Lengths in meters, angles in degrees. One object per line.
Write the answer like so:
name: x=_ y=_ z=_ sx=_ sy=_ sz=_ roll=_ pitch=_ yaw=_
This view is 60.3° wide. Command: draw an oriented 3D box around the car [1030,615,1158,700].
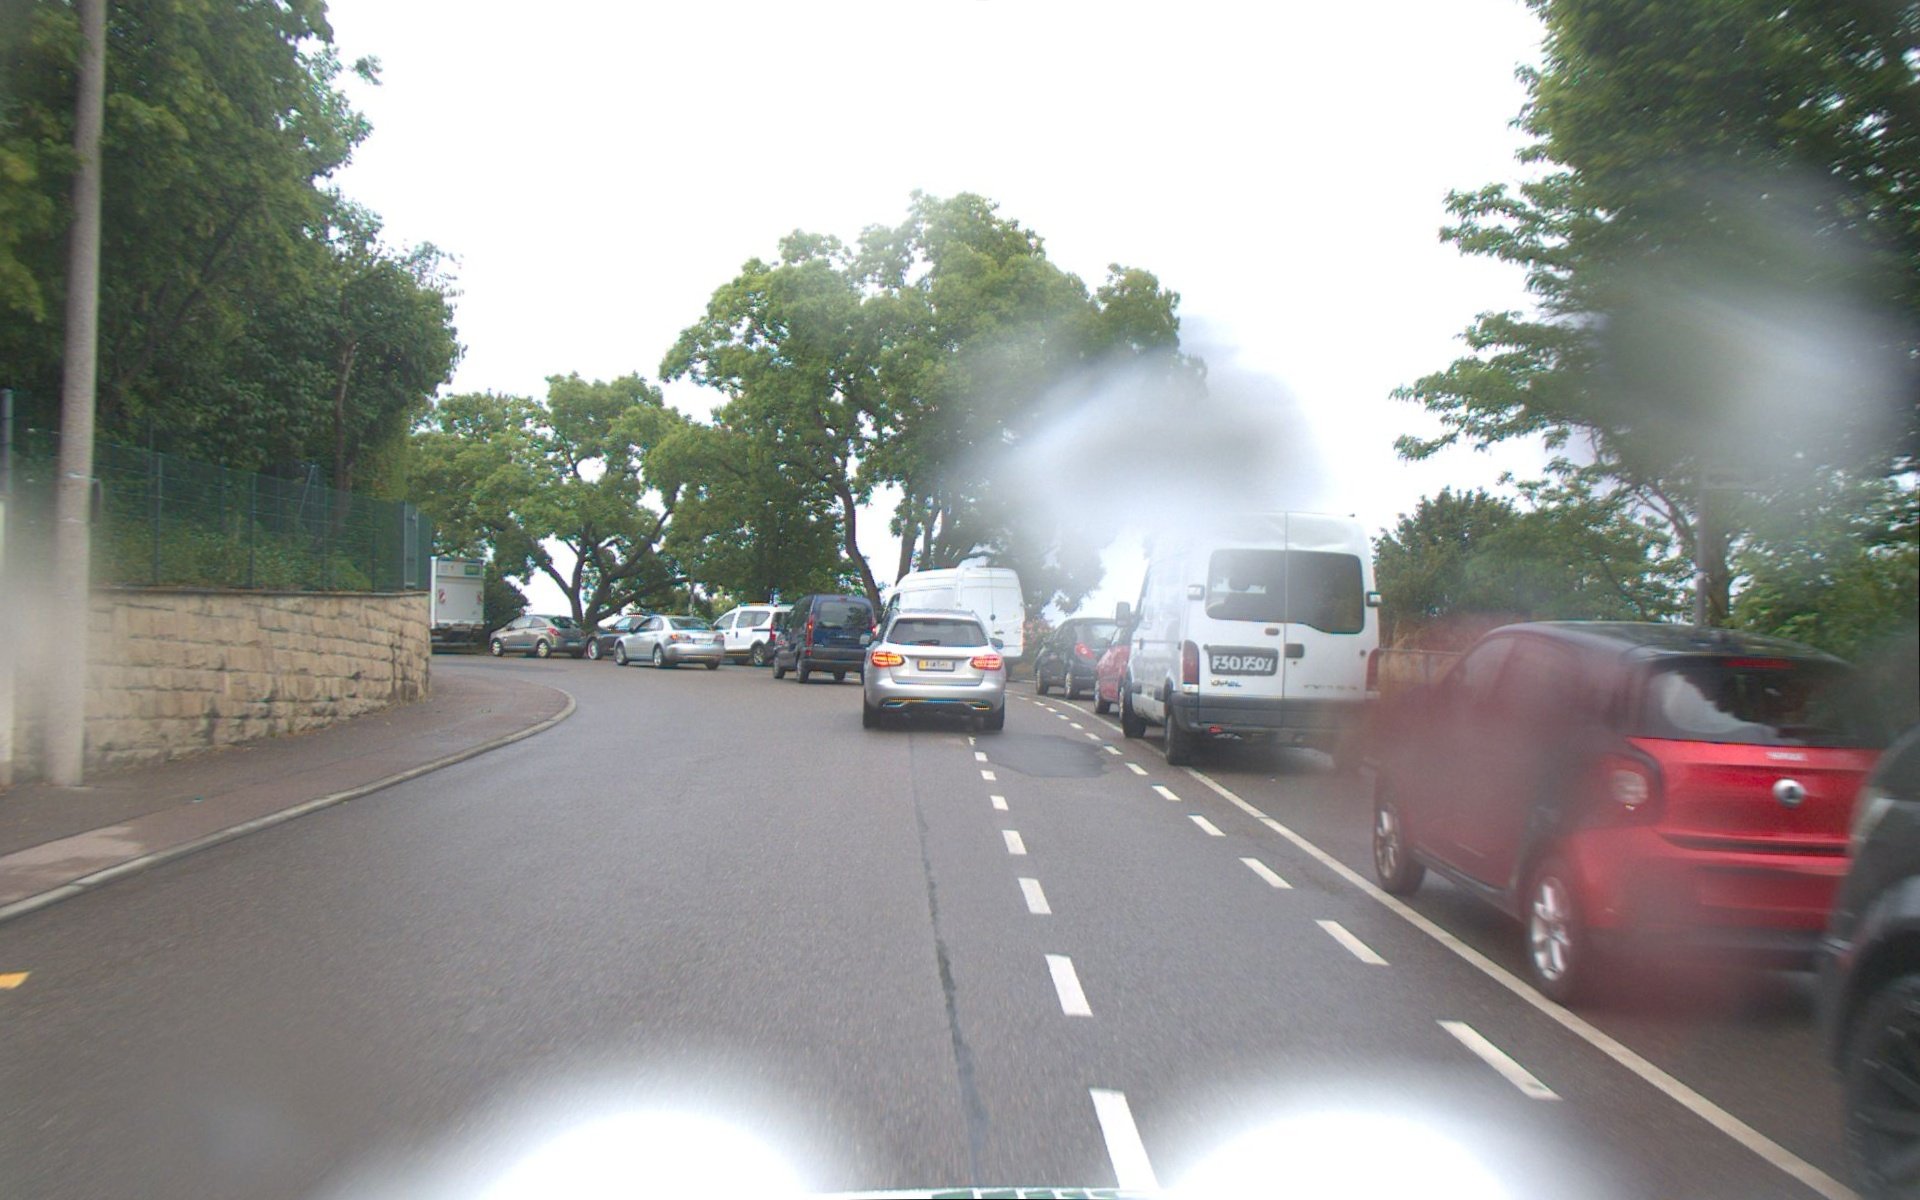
car: x=2.460 y=1.038 z=31.236 sx=1.663 sy=1.469 sz=3.941 roll=1 pitch=0 yaw=-7

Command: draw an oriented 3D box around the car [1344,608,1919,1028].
car: x=3.244 y=0.855 z=8.272 sx=1.648 sy=1.567 sz=3.832 roll=2 pitch=0 yaw=-1

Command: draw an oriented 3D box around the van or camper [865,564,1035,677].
van or camper: x=-0.360 y=0.480 z=41.372 sx=2.040 sy=2.626 sz=5.841 roll=1 pitch=0 yaw=-25

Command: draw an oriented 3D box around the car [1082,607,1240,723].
car: x=2.883 y=0.892 z=24.513 sx=1.588 sy=1.567 sz=4.212 roll=1 pitch=0 yaw=-3

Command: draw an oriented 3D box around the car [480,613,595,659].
car: x=-14.844 y=1.253 z=58.064 sx=4.052 sy=1.529 sz=1.733 roll=0 pitch=-1 yaw=35

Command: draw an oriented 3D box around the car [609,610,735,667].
car: x=-7.950 y=1.023 z=45.417 sx=1.839 sy=1.484 sz=4.042 roll=1 pitch=0 yaw=-36

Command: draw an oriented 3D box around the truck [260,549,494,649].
truck: x=-21.927 y=-0.069 z=62.105 sx=8.726 sy=3.531 sz=2.781 roll=1 pitch=-1 yaw=24

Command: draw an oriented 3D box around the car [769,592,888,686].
car: x=-2.904 y=0.800 z=35.778 sx=1.794 sy=1.916 sz=4.077 roll=1 pitch=0 yaw=-16

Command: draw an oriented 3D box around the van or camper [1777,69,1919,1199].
van or camper: x=3.473 y=0.159 z=1.918 sx=2.081 sy=2.961 sz=5.726 roll=2 pitch=0 yaw=-1

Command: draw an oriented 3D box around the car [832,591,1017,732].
car: x=-0.573 y=0.735 z=21.532 sx=1.945 sy=1.581 sz=4.291 roll=2 pitch=0 yaw=-7

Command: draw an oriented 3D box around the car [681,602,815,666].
car: x=-6.557 y=1.016 z=50.798 sx=4.347 sy=1.853 sz=1.741 roll=0 pitch=-1 yaw=43

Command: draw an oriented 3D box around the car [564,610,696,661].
car: x=-10.915 y=1.148 z=54.570 sx=4.810 sy=1.569 sz=1.854 roll=0 pitch=-1 yaw=43

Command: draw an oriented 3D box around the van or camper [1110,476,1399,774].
van or camper: x=2.998 y=0.239 z=18.186 sx=2.032 sy=2.708 sz=5.595 roll=2 pitch=0 yaw=-1
